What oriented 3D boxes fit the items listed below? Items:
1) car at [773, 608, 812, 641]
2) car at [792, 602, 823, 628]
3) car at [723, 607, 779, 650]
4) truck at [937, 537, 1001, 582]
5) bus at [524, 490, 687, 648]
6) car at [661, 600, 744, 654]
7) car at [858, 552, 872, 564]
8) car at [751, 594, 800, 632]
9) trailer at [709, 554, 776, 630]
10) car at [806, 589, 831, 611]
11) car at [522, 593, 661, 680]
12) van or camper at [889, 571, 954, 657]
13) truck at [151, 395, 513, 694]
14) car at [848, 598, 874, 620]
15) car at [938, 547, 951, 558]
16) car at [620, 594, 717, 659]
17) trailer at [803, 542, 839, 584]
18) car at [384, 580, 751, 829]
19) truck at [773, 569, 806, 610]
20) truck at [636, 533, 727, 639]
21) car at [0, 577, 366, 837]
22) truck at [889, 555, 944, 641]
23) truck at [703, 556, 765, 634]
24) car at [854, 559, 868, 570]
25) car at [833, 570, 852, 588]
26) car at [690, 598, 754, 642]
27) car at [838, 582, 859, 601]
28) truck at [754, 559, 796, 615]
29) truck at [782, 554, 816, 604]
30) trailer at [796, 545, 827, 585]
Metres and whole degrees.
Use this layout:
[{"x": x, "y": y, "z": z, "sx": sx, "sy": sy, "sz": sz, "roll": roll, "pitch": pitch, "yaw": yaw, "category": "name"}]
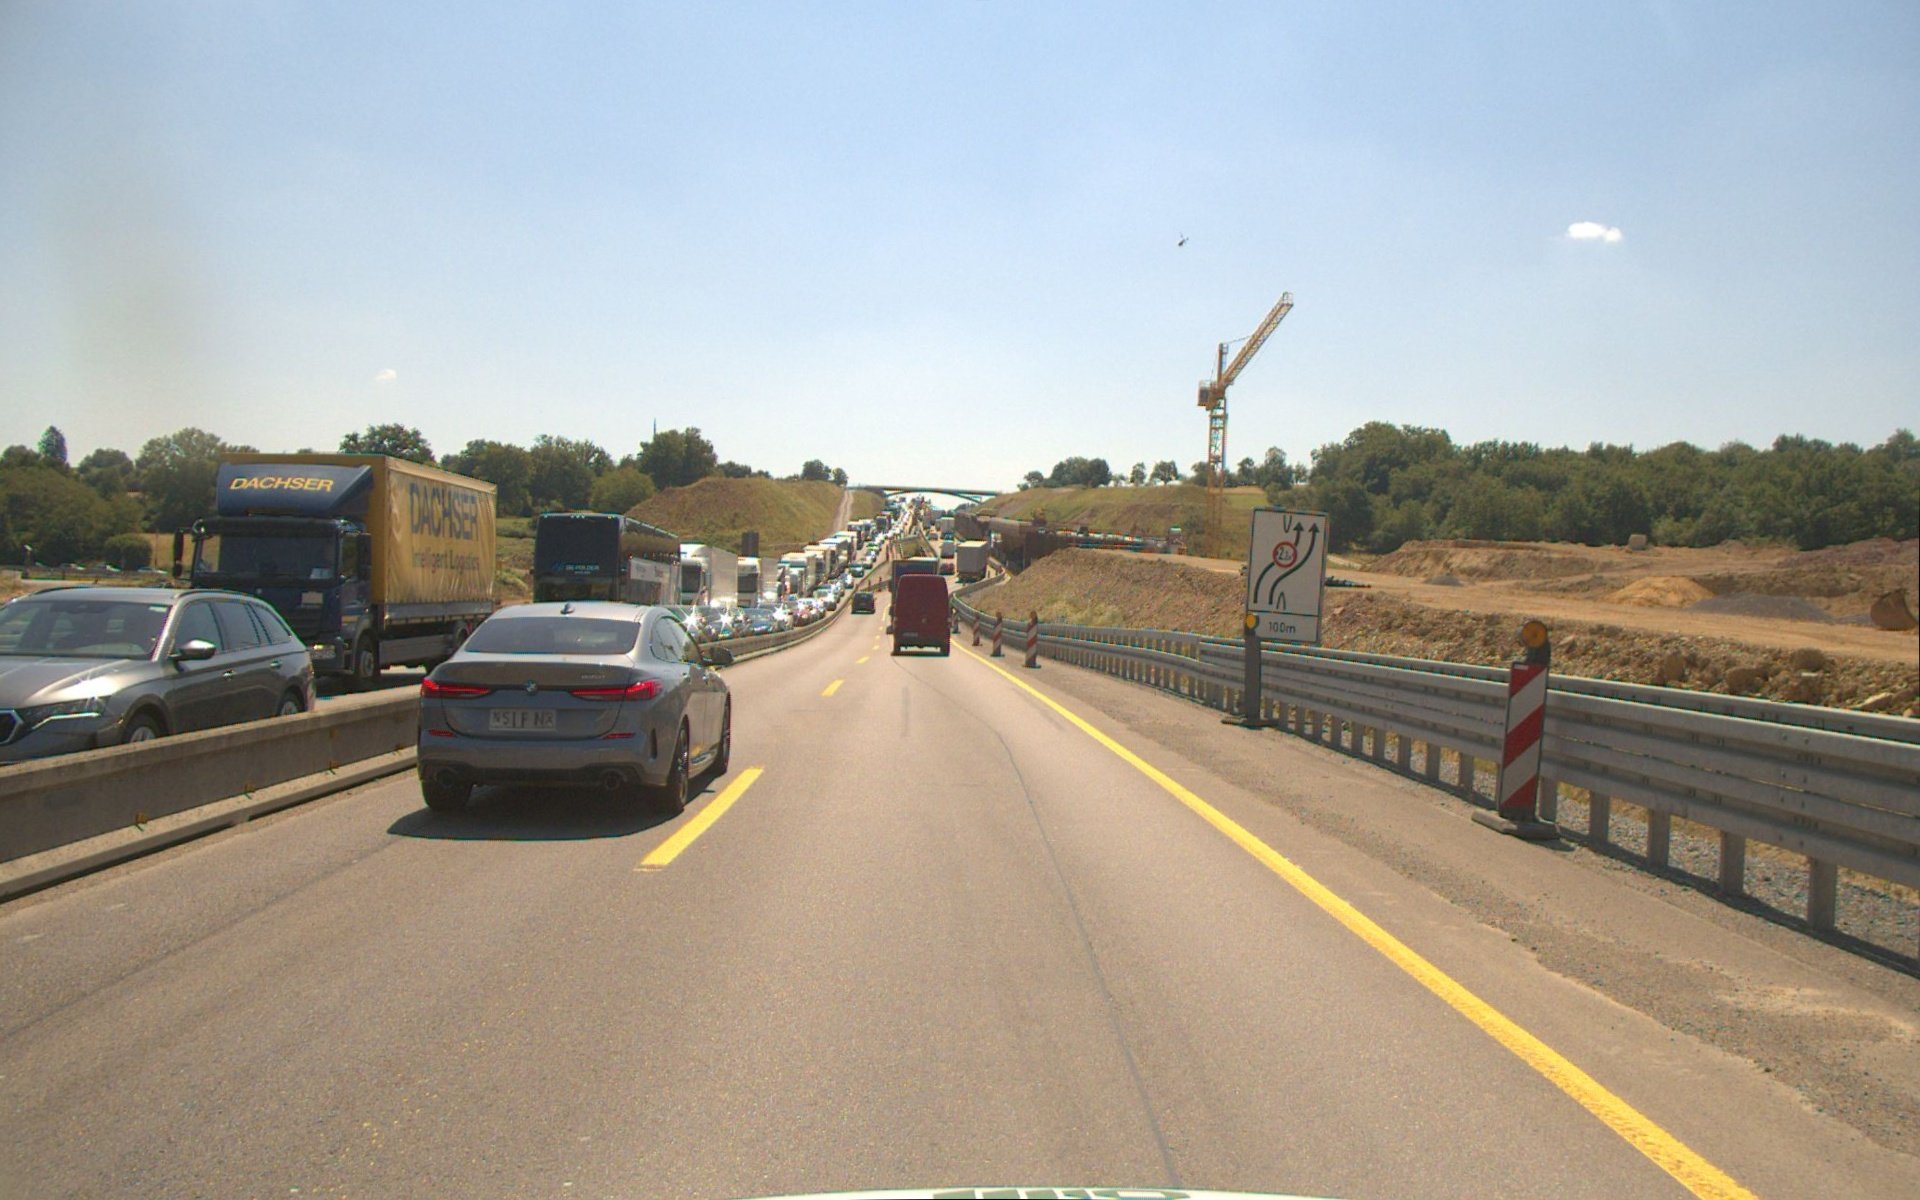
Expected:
[{"x": -9.550, "y": 1.365, "z": 94.618, "sx": 1.954, "sy": 1.659, "sz": 4.755, "roll": 2, "pitch": 1, "yaw": -3, "category": "car"}, {"x": -9.804, "y": 1.003, "z": 106.702, "sx": 1.790, "sy": 1.601, "sz": 3.997, "roll": 1, "pitch": -1, "yaw": -3, "category": "car"}, {"x": -8.290, "y": 1.106, "z": 65.938, "sx": 1.776, "sy": 1.462, "sz": 5.118, "roll": 2, "pitch": 1, "yaw": -3, "category": "car"}, {"x": 1.206, "y": -4.842, "z": 199.647, "sx": 5.050, "sy": 5.084, "sz": 13.888, "roll": 2, "pitch": 1, "yaw": 11, "category": "truck"}, {"x": -11.045, "y": -0.808, "z": 53.262, "sx": 2.684, "sy": 4.339, "sz": 14.467, "roll": 1, "pitch": 0, "yaw": -3, "category": "bus"}, {"x": -7.743, "y": 0.780, "z": 50.136, "sx": 1.880, "sy": 1.448, "sz": 5.088, "roll": 2, "pitch": 0, "yaw": -3, "category": "car"}, {"x": -13.588, "y": -5.986, "z": 236.277, "sx": 1.913, "sy": 1.556, "sz": 4.266, "roll": 1, "pitch": 1, "yaw": -2, "category": "car"}, {"x": -8.700, "y": 0.585, "z": 78.281, "sx": 1.954, "sy": 1.648, "sz": 4.879, "roll": 1, "pitch": 1, "yaw": -3, "category": "car"}, {"x": -13.206, "y": -0.500, "z": 101.343, "sx": 2.926, "sy": 4.282, "sz": 13.937, "roll": 1, "pitch": 0, "yaw": -3, "category": "trailer"}, {"x": -11.453, "y": 0.016, "z": 133.941, "sx": 1.790, "sy": 1.680, "sz": 4.544, "roll": 2, "pitch": -1, "yaw": -3, "category": "car"}, {"x": -6.982, "y": 0.643, "z": 31.781, "sx": 1.822, "sy": 1.520, "sz": 4.901, "roll": -1, "pitch": 0, "yaw": -3, "category": "car"}, {"x": -1.374, "y": 0.422, "z": 57.157, "sx": 1.989, "sy": 2.792, "sz": 4.512, "roll": 1, "pitch": 1, "yaw": -4, "category": "van or camper"}, {"x": -10.347, "y": -0.785, "z": 28.733, "sx": 2.746, "sy": 4.225, "sz": 10.074, "roll": 1, "pitch": 0, "yaw": -2, "category": "truck"}, {"x": -7.731, "y": 0.699, "z": 129.598, "sx": 1.972, "sy": 1.572, "sz": 4.130, "roll": 1, "pitch": 1, "yaw": -4, "category": "car"}, {"x": -2.400, "y": -7.230, "z": 253.379, "sx": 1.913, "sy": 1.669, "sz": 4.266, "roll": 1, "pitch": 1, "yaw": -2, "category": "car"}, {"x": -7.454, "y": 0.637, "z": 42.765, "sx": 1.801, "sy": 1.469, "sz": 4.928, "roll": 2, "pitch": 1, "yaw": -3, "category": "car"}, {"x": -15.880, "y": -4.275, "z": 190.332, "sx": 2.980, "sy": 4.631, "sz": 12.128, "roll": 1, "pitch": 1, "yaw": 0, "category": "trailer"}, {"x": -2.759, "y": 0.630, "z": 12.738, "sx": 1.814, "sy": 1.477, "sz": 4.740, "roll": 2, "pitch": 1, "yaw": -2, "category": "car"}, {"x": -13.911, "y": -0.923, "z": 135.557, "sx": 2.385, "sy": 3.203, "sz": 7.019, "roll": 1, "pitch": 1, "yaw": -4, "category": "truck"}, {"x": -11.841, "y": -0.612, "z": 70.881, "sx": 3.035, "sy": 4.271, "sz": 6.698, "roll": 1, "pitch": 0, "yaw": -3, "category": "truck"}, {"x": -6.278, "y": 0.617, "z": 12.530, "sx": 1.844, "sy": 1.457, "sz": 5.123, "roll": 2, "pitch": 1, "yaw": -3, "category": "car"}, {"x": -2.460, "y": -0.172, "z": 95.983, "sx": 2.958, "sy": 4.774, "sz": 6.933, "roll": 0, "pitch": 1, "yaw": 0, "category": "truck"}, {"x": -12.815, "y": -0.302, "z": 94.296, "sx": 2.918, "sy": 4.258, "sz": 5.871, "roll": 1, "pitch": 0, "yaw": -3, "category": "truck"}, {"x": -12.990, "y": -4.682, "z": 217.481, "sx": 1.712, "sy": 1.433, "sz": 3.999, "roll": 1, "pitch": 1, "yaw": -2, "category": "car"}, {"x": -12.497, "y": -2.285, "z": 176.056, "sx": 1.954, "sy": 1.814, "sz": 3.997, "roll": -1, "pitch": 1, "yaw": -4, "category": "car"}, {"x": -8.330, "y": 0.687, "z": 58.165, "sx": 1.796, "sy": 1.448, "sz": 4.680, "roll": 1, "pitch": 0, "yaw": -3, "category": "car"}, {"x": -9.785, "y": -0.761, "z": 145.202, "sx": 1.790, "sy": 1.562, "sz": 4.544, "roll": -1, "pitch": 1, "yaw": -3, "category": "car"}, {"x": -13.368, "y": -0.960, "z": 120.000, "sx": 2.474, "sy": 3.923, "sz": 8.666, "roll": 1, "pitch": 1, "yaw": -3, "category": "truck"}, {"x": -14.149, "y": -1.874, "z": 145.482, "sx": 2.499, "sy": 4.304, "sz": 6.528, "roll": 1, "pitch": 1, "yaw": -2, "category": "truck"}, {"x": -15.659, "y": -3.659, "z": 174.741, "sx": 2.727, "sy": 4.000, "sz": 11.003, "roll": 1, "pitch": 0, "yaw": -3, "category": "trailer"}]
